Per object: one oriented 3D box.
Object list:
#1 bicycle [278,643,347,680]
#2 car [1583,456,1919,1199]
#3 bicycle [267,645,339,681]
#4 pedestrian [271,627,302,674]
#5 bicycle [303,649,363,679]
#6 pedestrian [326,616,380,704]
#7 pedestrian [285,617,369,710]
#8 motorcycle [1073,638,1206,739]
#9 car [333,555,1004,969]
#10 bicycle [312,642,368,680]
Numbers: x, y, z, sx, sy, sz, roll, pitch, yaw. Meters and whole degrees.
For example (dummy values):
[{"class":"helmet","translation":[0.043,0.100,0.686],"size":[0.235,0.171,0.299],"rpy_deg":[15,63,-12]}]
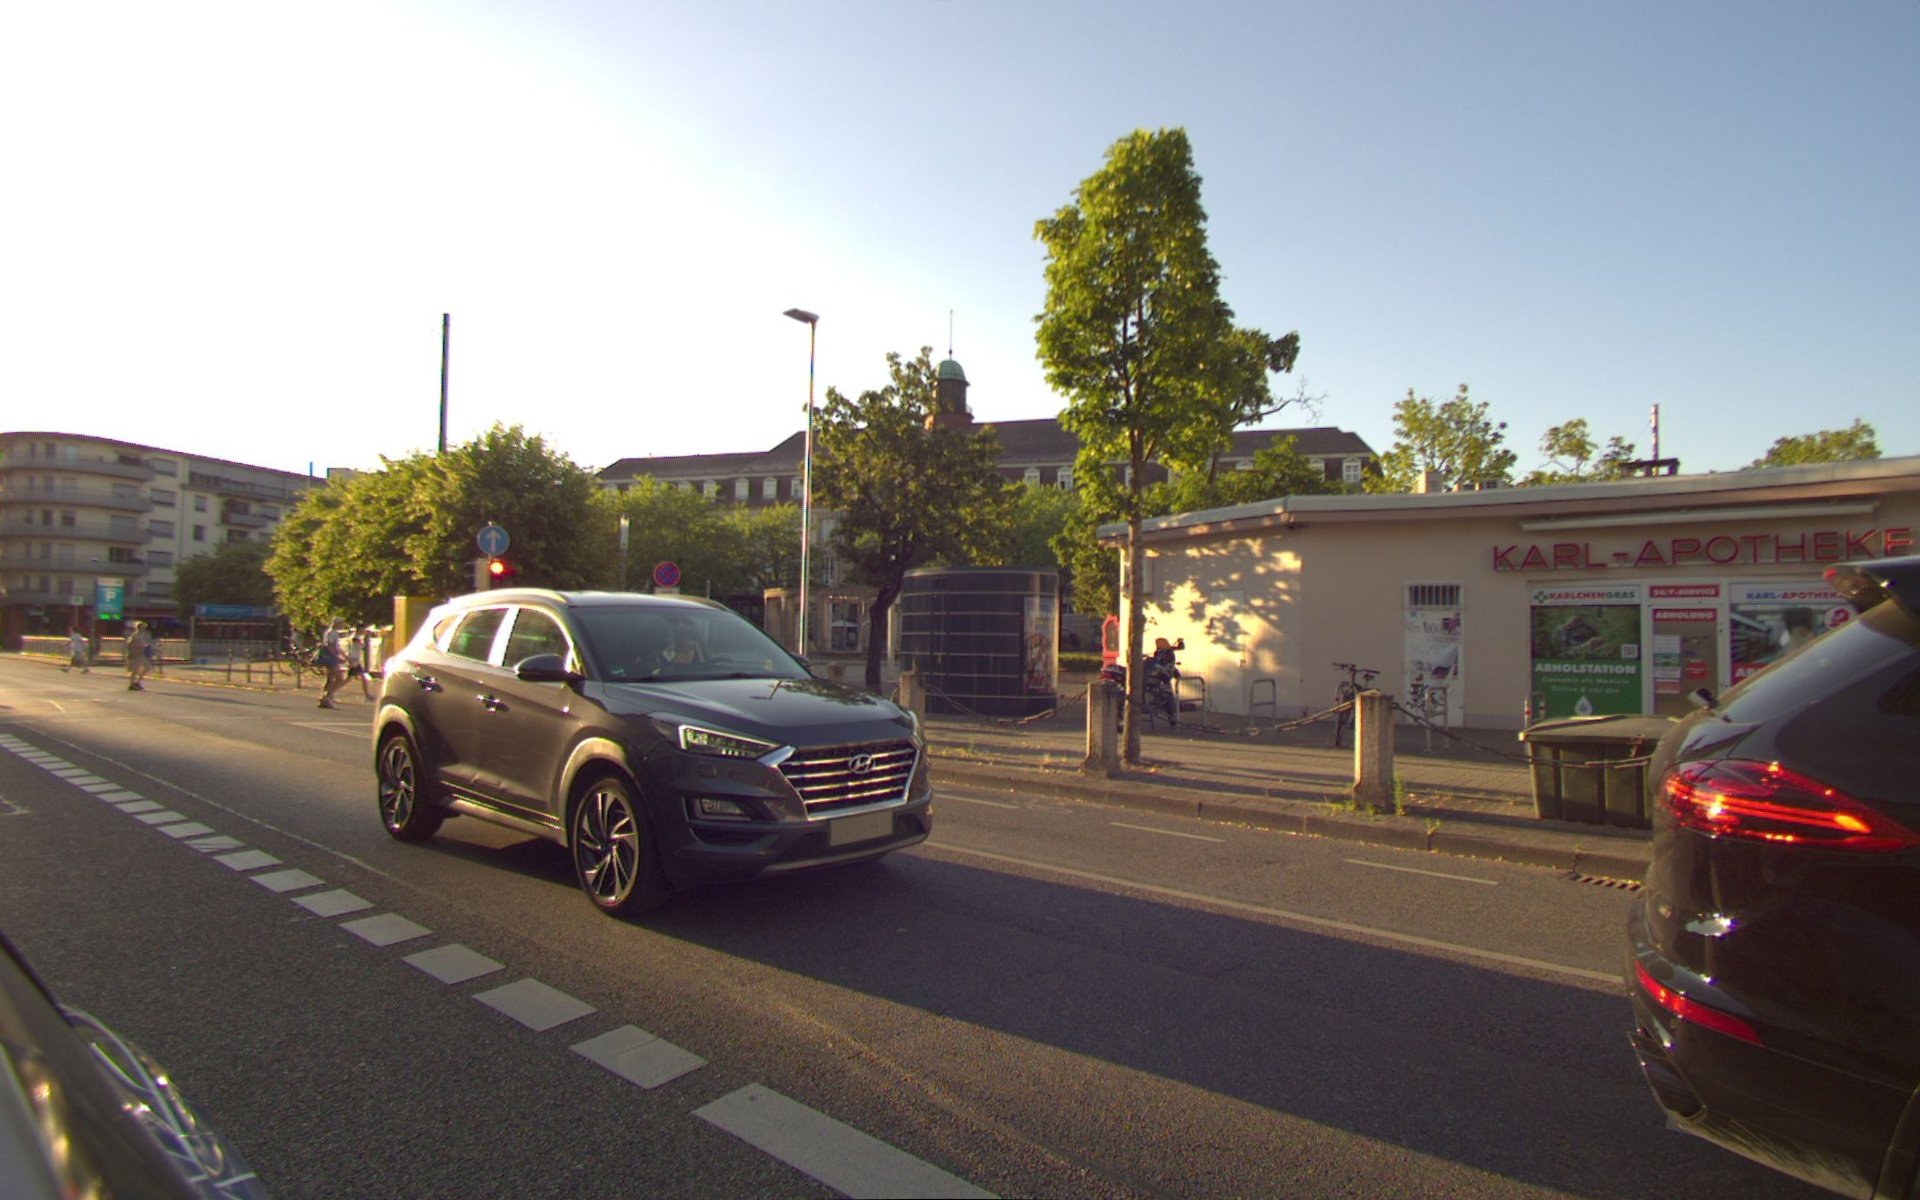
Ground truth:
[{"class":"bicycle","translation":[-23.128,2.177,36.202],"size":[0.548,1.262,2.007],"rpy_deg":[-2,-2,36]},{"class":"car","translation":[3.682,0.605,1.401],"size":[4.558,1.727,1.929],"rpy_deg":[-2,-4,40]},{"class":"bicycle","translation":[-22.542,2.147,34.775],"size":[0.548,1.143,2.007],"rpy_deg":[-2,-2,36]},{"class":"pedestrian","translation":[-26.557,1.978,39.906],"size":[0.858,1.831,0.827],"rpy_deg":[3,-4,-40]},{"class":"bicycle","translation":[-21.514,2.178,34.738],"size":[0.548,0.986,1.658],"rpy_deg":[-2,-2,36]},{"class":"pedestrian","translation":[-13.675,1.342,22.800],"size":[0.925,1.912,0.828],"rpy_deg":[3,-4,-35]},{"class":"pedestrian","translation":[-12.573,1.255,20.121],"size":[0.822,1.788,1.090],"rpy_deg":[-1,-3,29]},{"class":"motorcycle","translation":[2.858,1.345,15.858],"size":[0.868,1.440,2.554],"rpy_deg":[-2,-4,41]},{"class":"car","translation":[-2.048,0.774,6.348],"size":[4.446,1.702,1.853],"rpy_deg":[-2,-5,40]},{"class":"bicycle","translation":[-21.148,2.064,34.542],"size":[0.444,1.262,1.571],"rpy_deg":[-2,-2,38]}]
